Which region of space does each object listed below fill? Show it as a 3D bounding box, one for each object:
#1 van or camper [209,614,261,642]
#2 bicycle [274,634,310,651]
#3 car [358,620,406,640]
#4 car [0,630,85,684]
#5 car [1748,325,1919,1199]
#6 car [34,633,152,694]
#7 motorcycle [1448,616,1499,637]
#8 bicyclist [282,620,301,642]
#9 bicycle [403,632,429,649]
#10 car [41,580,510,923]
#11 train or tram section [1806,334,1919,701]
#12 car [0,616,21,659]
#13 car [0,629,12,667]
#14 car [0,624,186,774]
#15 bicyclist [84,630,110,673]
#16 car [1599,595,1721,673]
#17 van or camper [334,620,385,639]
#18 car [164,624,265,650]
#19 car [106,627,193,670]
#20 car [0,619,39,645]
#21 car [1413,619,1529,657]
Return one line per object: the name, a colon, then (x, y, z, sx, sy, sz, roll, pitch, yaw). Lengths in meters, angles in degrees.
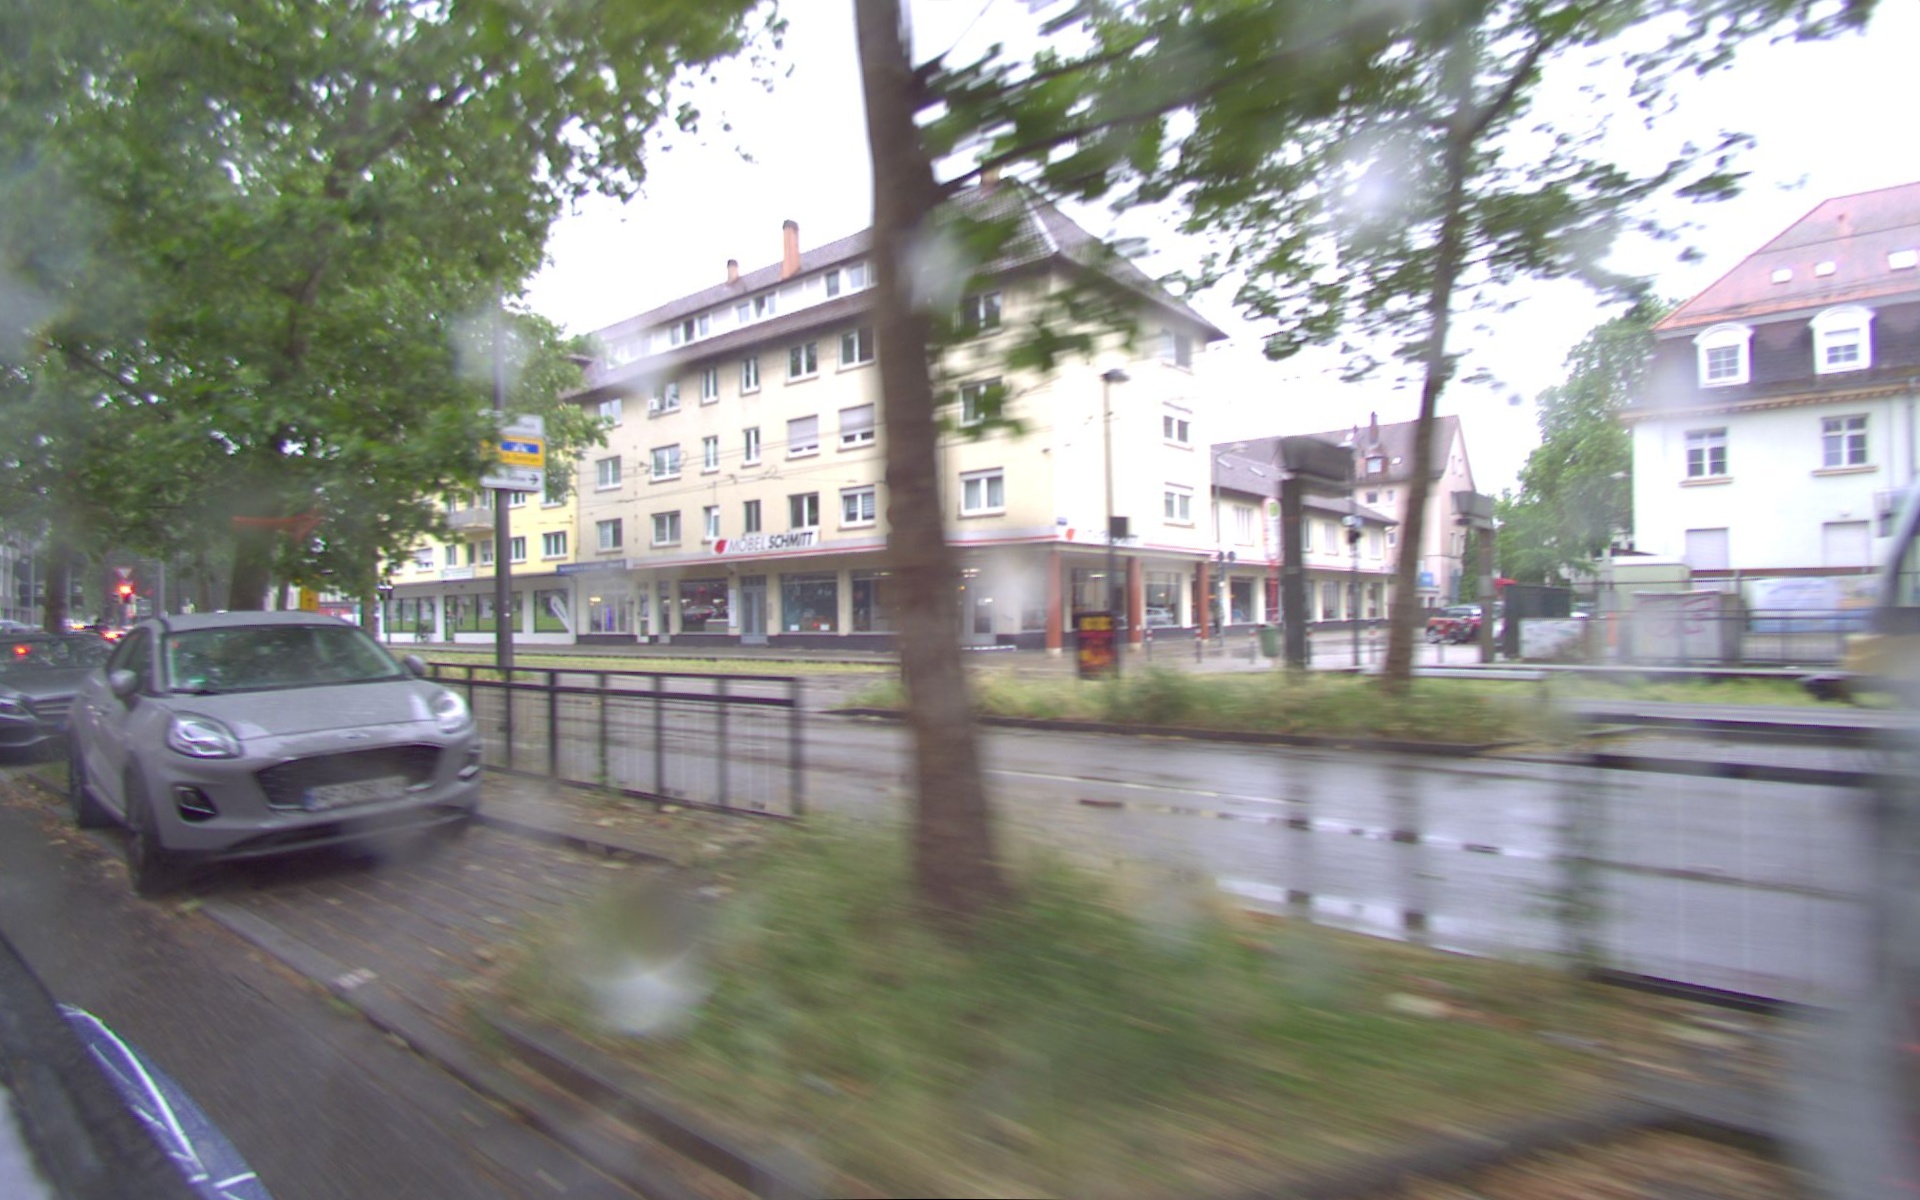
van or camper: (-67.182, 2.553, 93.902, 2.145, 2.489, 5.988, 0, -1, -17)
bicycle: (-46.884, 2.977, 71.045, 0.818, 1.096, 1.973, -2, -1, 37)
car: (-61.068, 3.187, 106.964, 4.324, 2.029, 2.073, 0, 0, -34)
car: (-28.634, 1.715, 31.315, 4.429, 1.491, 1.723, -2, -1, 41)
car: (2.854, 0.489, 0.615, 3.653, 1.694, 1.609, -3, -1, 38)
car: (-22.860, 1.618, 26.645, 4.230, 1.408, 1.723, -2, -1, 40)
motorcycle: (17.937, 0.926, 35.381, 0.512, 0.715, 1.680, 0, -1, -22)
bicyclist: (-46.936, 2.181, 71.065, 0.924, 1.481, 0.797, 0, 0, 30)
bicycle: (-30.968, 2.308, 57.610, 2.045, 0.903, 0.605, -1, -1, 41)
car: (-4.902, 0.777, 6.965, 4.353, 1.648, 1.680, -2, -1, 42)
train or tram section: (15.318, -0.792, 6.927, 14.565, 3.585, 3.075, 0, 0, 40)
car: (-35.091, 1.360, 36.058, 4.636, 1.496, 1.838, -2, -1, 40)
car: (-39.686, 1.938, 40.759, 4.497, 1.500, 1.717, -2, -1, 41)
car: (-11.426, 1.099, 12.632, 4.609, 1.515, 1.810, -1, 0, 40)
bicyclist: (-35.467, 2.104, 41.571, 0.890, 1.729, 0.704, 0, -1, 42)
car: (15.534, 0.709, 22.386, 1.611, 1.553, 3.635, -2, -1, 44)
van or camper: (-66.886, 3.253, 112.702, 4.581, 2.091, 2.003, 2, -2, -41)
car: (-51.147, 2.526, 69.519, 1.940, 1.604, 5.285, -2, -1, 28)
car: (-29.227, 1.724, 36.458, 4.127, 1.408, 1.723, -2, -1, 41)
car: (-64.424, 2.120, 67.414, 1.766, 1.672, 4.546, 0, 0, 7)
car: (18.736, 1.373, 37.286, 1.323, 1.235, 3.865, -3, 0, -22)
